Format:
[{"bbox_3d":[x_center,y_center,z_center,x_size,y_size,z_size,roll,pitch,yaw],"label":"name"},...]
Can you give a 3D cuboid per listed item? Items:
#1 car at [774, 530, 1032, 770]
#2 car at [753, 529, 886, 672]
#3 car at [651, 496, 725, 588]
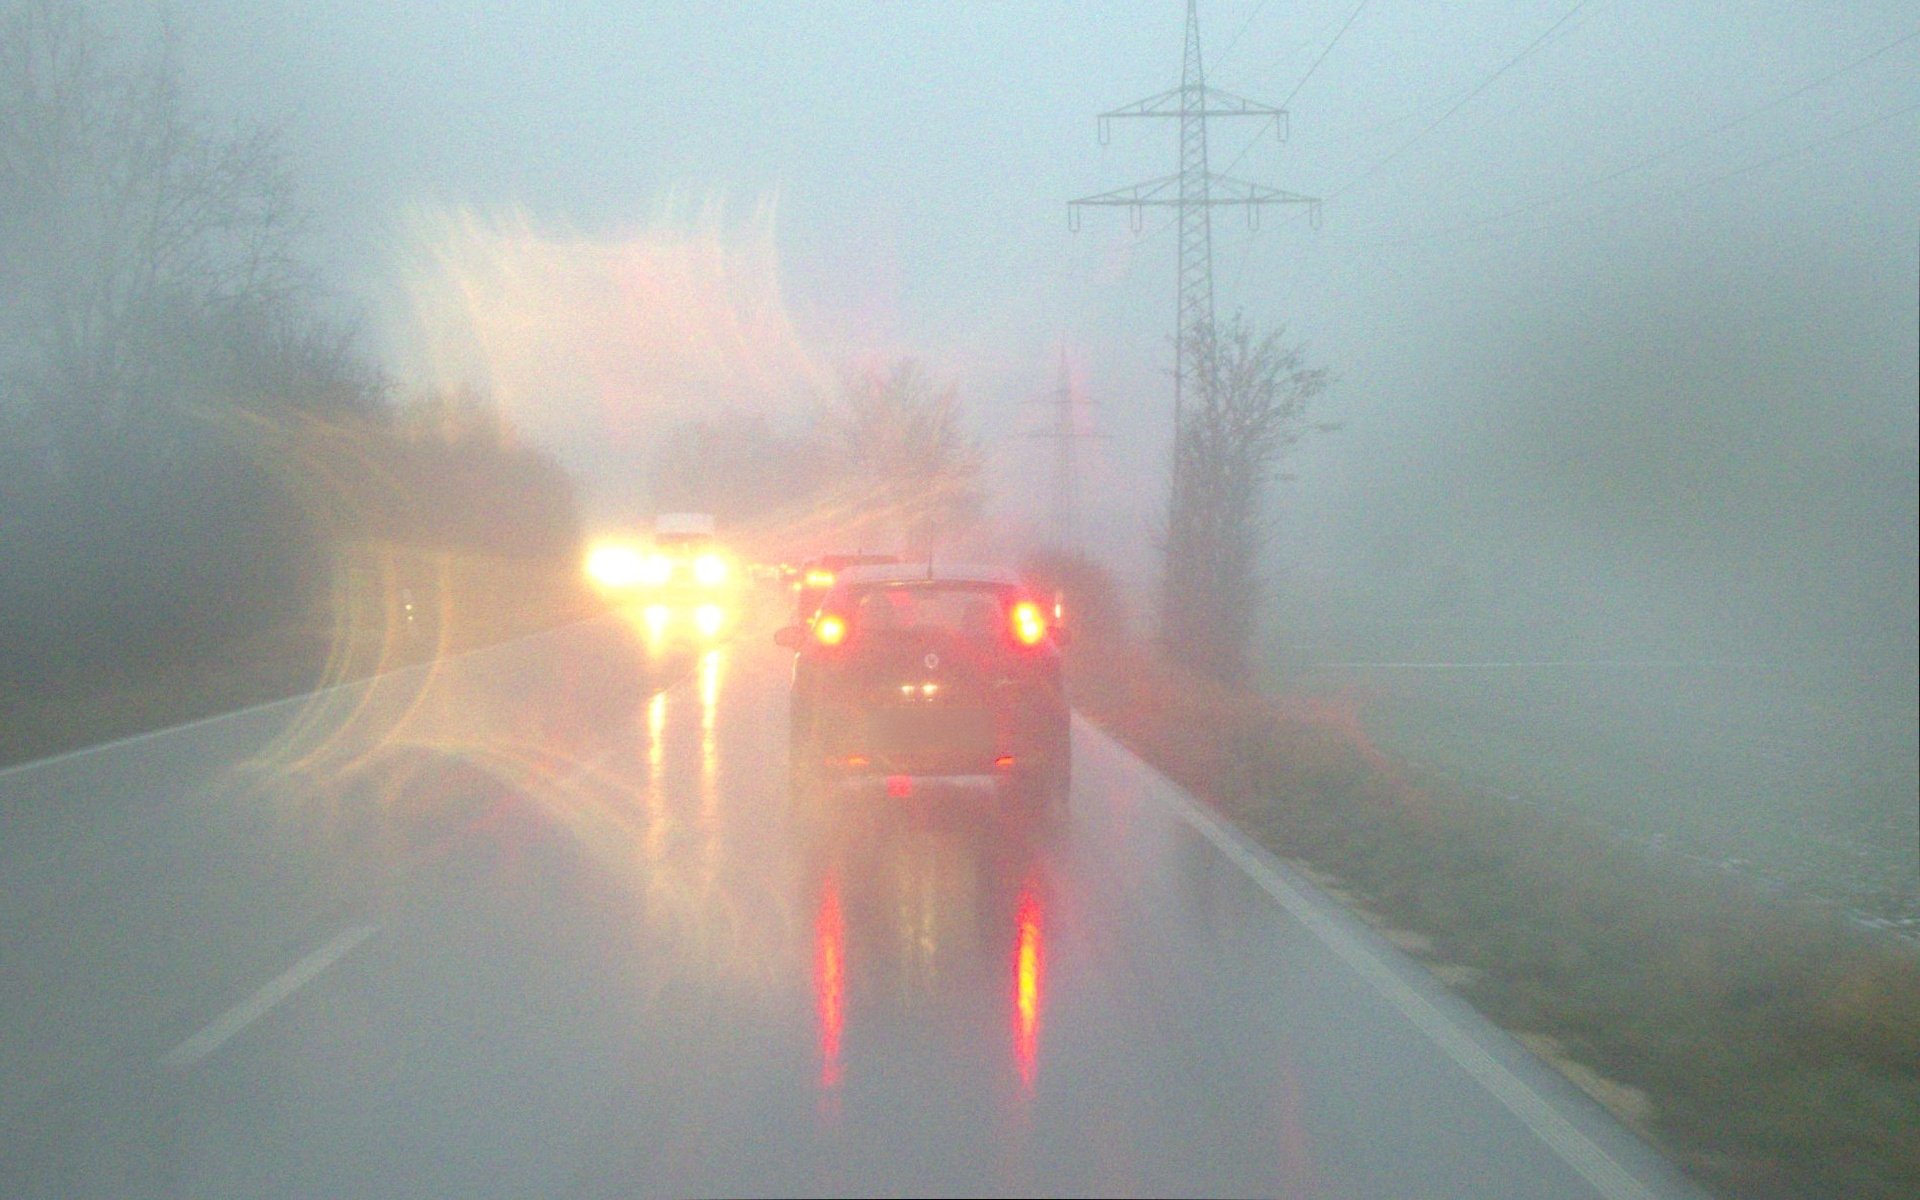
[{"bbox_3d":[-0.414,0.279,21.766,1.500,1.393,3.200,1,1,-3],"label":"car"},{"bbox_3d":[-2.086,-0.013,50.559,1.852,2.007,4.000,1,1,-3],"label":"car"},{"bbox_3d":[-8.144,-1.744,103.381,1.953,2.665,6.272,1,1,-2],"label":"car"}]
